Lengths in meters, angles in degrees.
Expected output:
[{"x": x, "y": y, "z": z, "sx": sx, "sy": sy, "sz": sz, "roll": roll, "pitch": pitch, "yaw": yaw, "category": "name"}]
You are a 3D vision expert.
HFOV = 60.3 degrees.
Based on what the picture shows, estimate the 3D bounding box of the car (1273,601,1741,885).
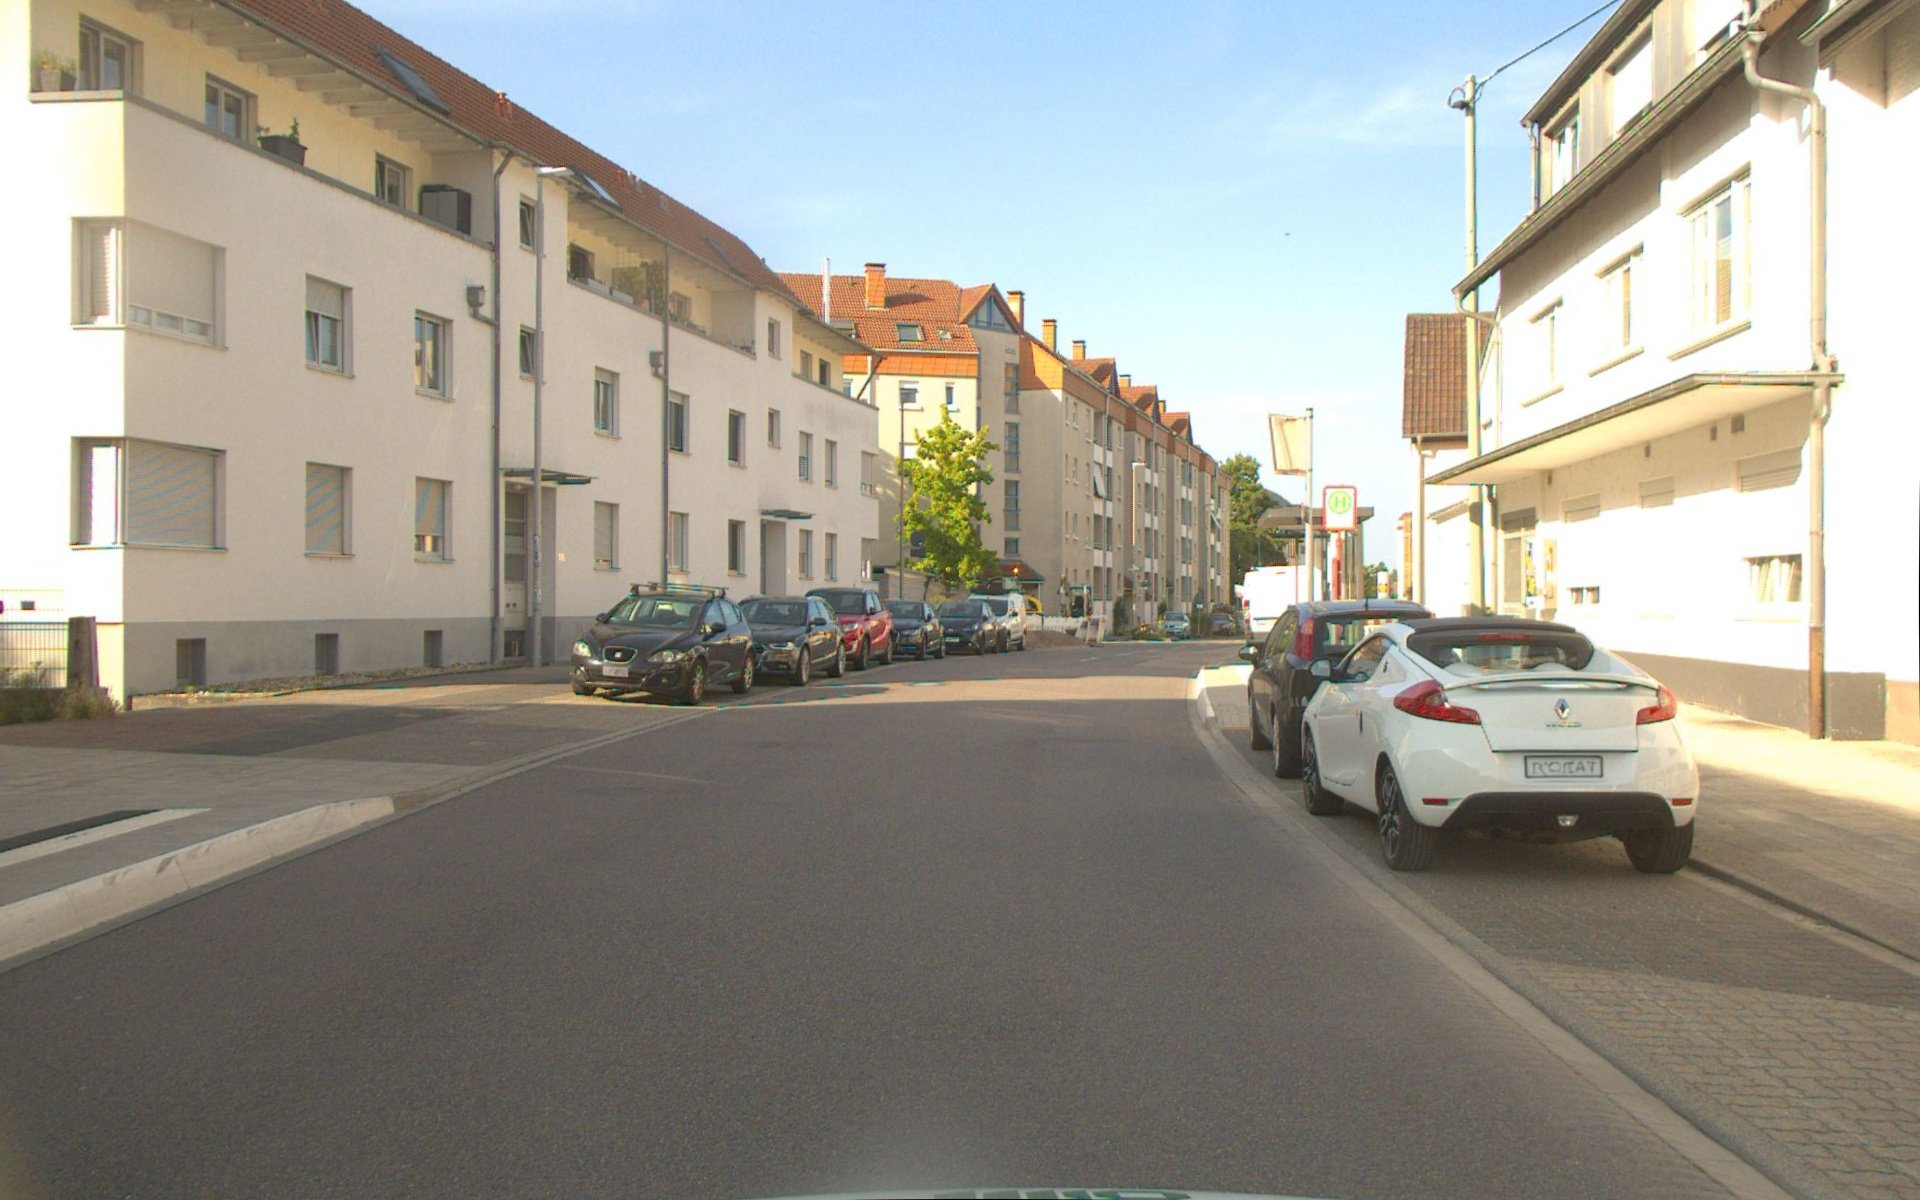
[{"x": 3.263, "y": 0.745, "z": 10.795, "sx": 1.679, "sy": 1.422, "sz": 4.335, "roll": 1, "pitch": 0, "yaw": 1, "category": "car"}]

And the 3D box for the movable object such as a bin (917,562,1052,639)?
[{"x": 1.015, "y": 0.011, "z": 67.622, "sx": 5.383, "sy": 2.951, "sz": 2.112, "roll": 1, "pitch": 0, "yaw": 1, "category": "movable object such as a bin"}]

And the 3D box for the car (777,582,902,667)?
[{"x": -2.427, "y": 0.474, "z": 34.326, "sx": 1.690, "sy": 1.650, "sz": 4.267, "roll": 0, "pitch": 0, "yaw": 9, "category": "car"}]

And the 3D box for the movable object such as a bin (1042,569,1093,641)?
[{"x": 5.039, "y": 0.205, "z": 76.952, "sx": 1.613, "sy": 3.193, "sz": 3.903, "roll": 1, "pitch": 1, "yaw": 15, "category": "movable object such as a bin"}]

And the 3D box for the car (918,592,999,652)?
[{"x": -0.005, "y": 0.577, "z": 45.522, "sx": 1.461, "sy": 1.490, "sz": 3.517, "roll": 4, "pitch": 1, "yaw": 11, "category": "car"}]

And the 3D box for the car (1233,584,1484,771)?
[{"x": 3.531, "y": 0.627, "z": 15.286, "sx": 1.574, "sy": 1.446, "sz": 3.922, "roll": -2, "pitch": 0, "yaw": 4, "category": "car"}]

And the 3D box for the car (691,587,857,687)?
[{"x": -3.143, "y": 0.585, "z": 28.808, "sx": 1.690, "sy": 1.503, "sz": 4.506, "roll": 3, "pitch": 1, "yaw": 9, "category": "car"}]

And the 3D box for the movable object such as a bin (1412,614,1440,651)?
[{"x": 12.664, "y": 0.886, "z": 44.992, "sx": 0.712, "sy": 0.975, "sz": 0.554, "roll": 0, "pitch": -1, "yaw": 14, "category": "movable object such as a bin"}]

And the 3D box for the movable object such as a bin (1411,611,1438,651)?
[{"x": 12.854, "y": 0.855, "z": 45.803, "sx": 0.712, "sy": 1.112, "sz": 0.554, "roll": 0, "pitch": -1, "yaw": 14, "category": "movable object such as a bin"}]

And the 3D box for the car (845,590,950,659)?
[{"x": -1.435, "y": 0.554, "z": 39.622, "sx": 1.690, "sy": 1.503, "sz": 4.267, "roll": 2, "pitch": 0, "yaw": 9, "category": "car"}]

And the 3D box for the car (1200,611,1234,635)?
[{"x": 16.086, "y": 1.415, "z": 103.385, "sx": 1.650, "sy": 1.430, "sz": 4.086, "roll": 1, "pitch": 0, "yaw": 15, "category": "car"}]

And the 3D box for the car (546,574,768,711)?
[{"x": -4.160, "y": 0.534, "z": 23.406, "sx": 1.738, "sy": 1.650, "sz": 4.181, "roll": 4, "pitch": 1, "yaw": 9, "category": "car"}]

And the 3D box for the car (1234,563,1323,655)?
[{"x": 8.809, "y": 0.248, "z": 45.416, "sx": 2.128, "sy": 2.368, "sz": 5.001, "roll": -1, "pitch": -1, "yaw": 13, "category": "car"}]

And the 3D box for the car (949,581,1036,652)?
[{"x": 1.059, "y": 0.489, "z": 50.872, "sx": 1.691, "sy": 1.994, "sz": 4.442, "roll": 4, "pitch": 1, "yaw": 13, "category": "car"}]

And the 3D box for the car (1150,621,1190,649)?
[{"x": 10.950, "y": 1.813, "z": 86.000, "sx": 1.605, "sy": 1.420, "sz": 3.674, "roll": -1, "pitch": -1, "yaw": 14, "category": "car"}]
